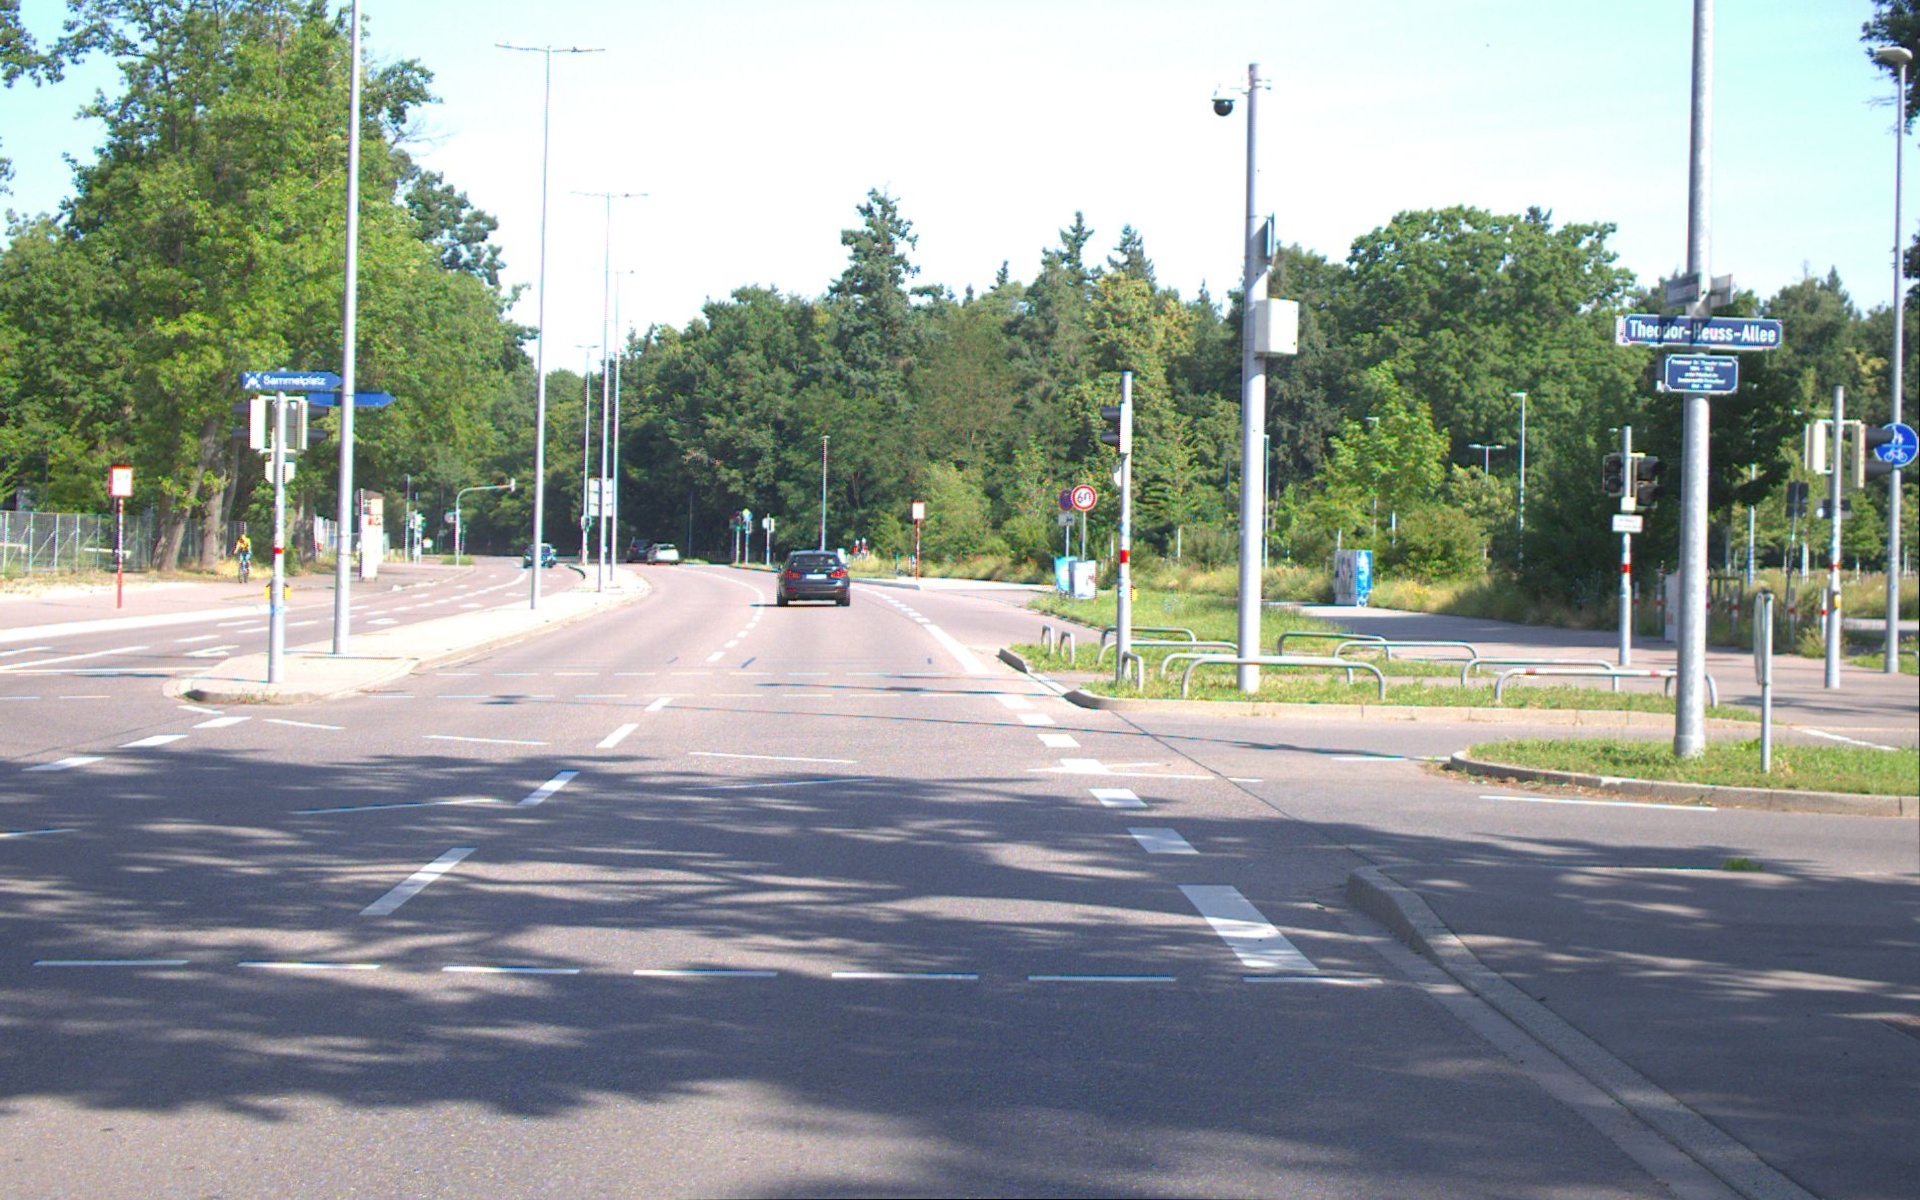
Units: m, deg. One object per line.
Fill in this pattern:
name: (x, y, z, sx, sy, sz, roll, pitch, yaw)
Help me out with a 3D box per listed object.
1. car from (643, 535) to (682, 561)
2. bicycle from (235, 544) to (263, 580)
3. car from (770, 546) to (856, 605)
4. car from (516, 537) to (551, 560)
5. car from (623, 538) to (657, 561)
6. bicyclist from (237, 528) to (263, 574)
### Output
car: (-20.575, -3.571, 237.517, 1.993, 1.744, 4.001, 1, 1, -16)
bicycle: (-23.325, -1.240, 112.788, 0.659, 1.132, 1.879, 2, 1, -5)
car: (-3.813, -0.655, 88.341, 1.940, 1.415, 4.294, 1, 1, -6)
car: (-26.828, -3.227, 216.167, 1.810, 1.383, 4.163, -1, 1, -12)
car: (-24.060, -3.795, 258.122, 1.993, 1.590, 4.001, 1, 1, -13)
bicyclist: (-23.295, -1.616, 112.852, 0.659, 1.462, 1.057, 2, 1, -5)
